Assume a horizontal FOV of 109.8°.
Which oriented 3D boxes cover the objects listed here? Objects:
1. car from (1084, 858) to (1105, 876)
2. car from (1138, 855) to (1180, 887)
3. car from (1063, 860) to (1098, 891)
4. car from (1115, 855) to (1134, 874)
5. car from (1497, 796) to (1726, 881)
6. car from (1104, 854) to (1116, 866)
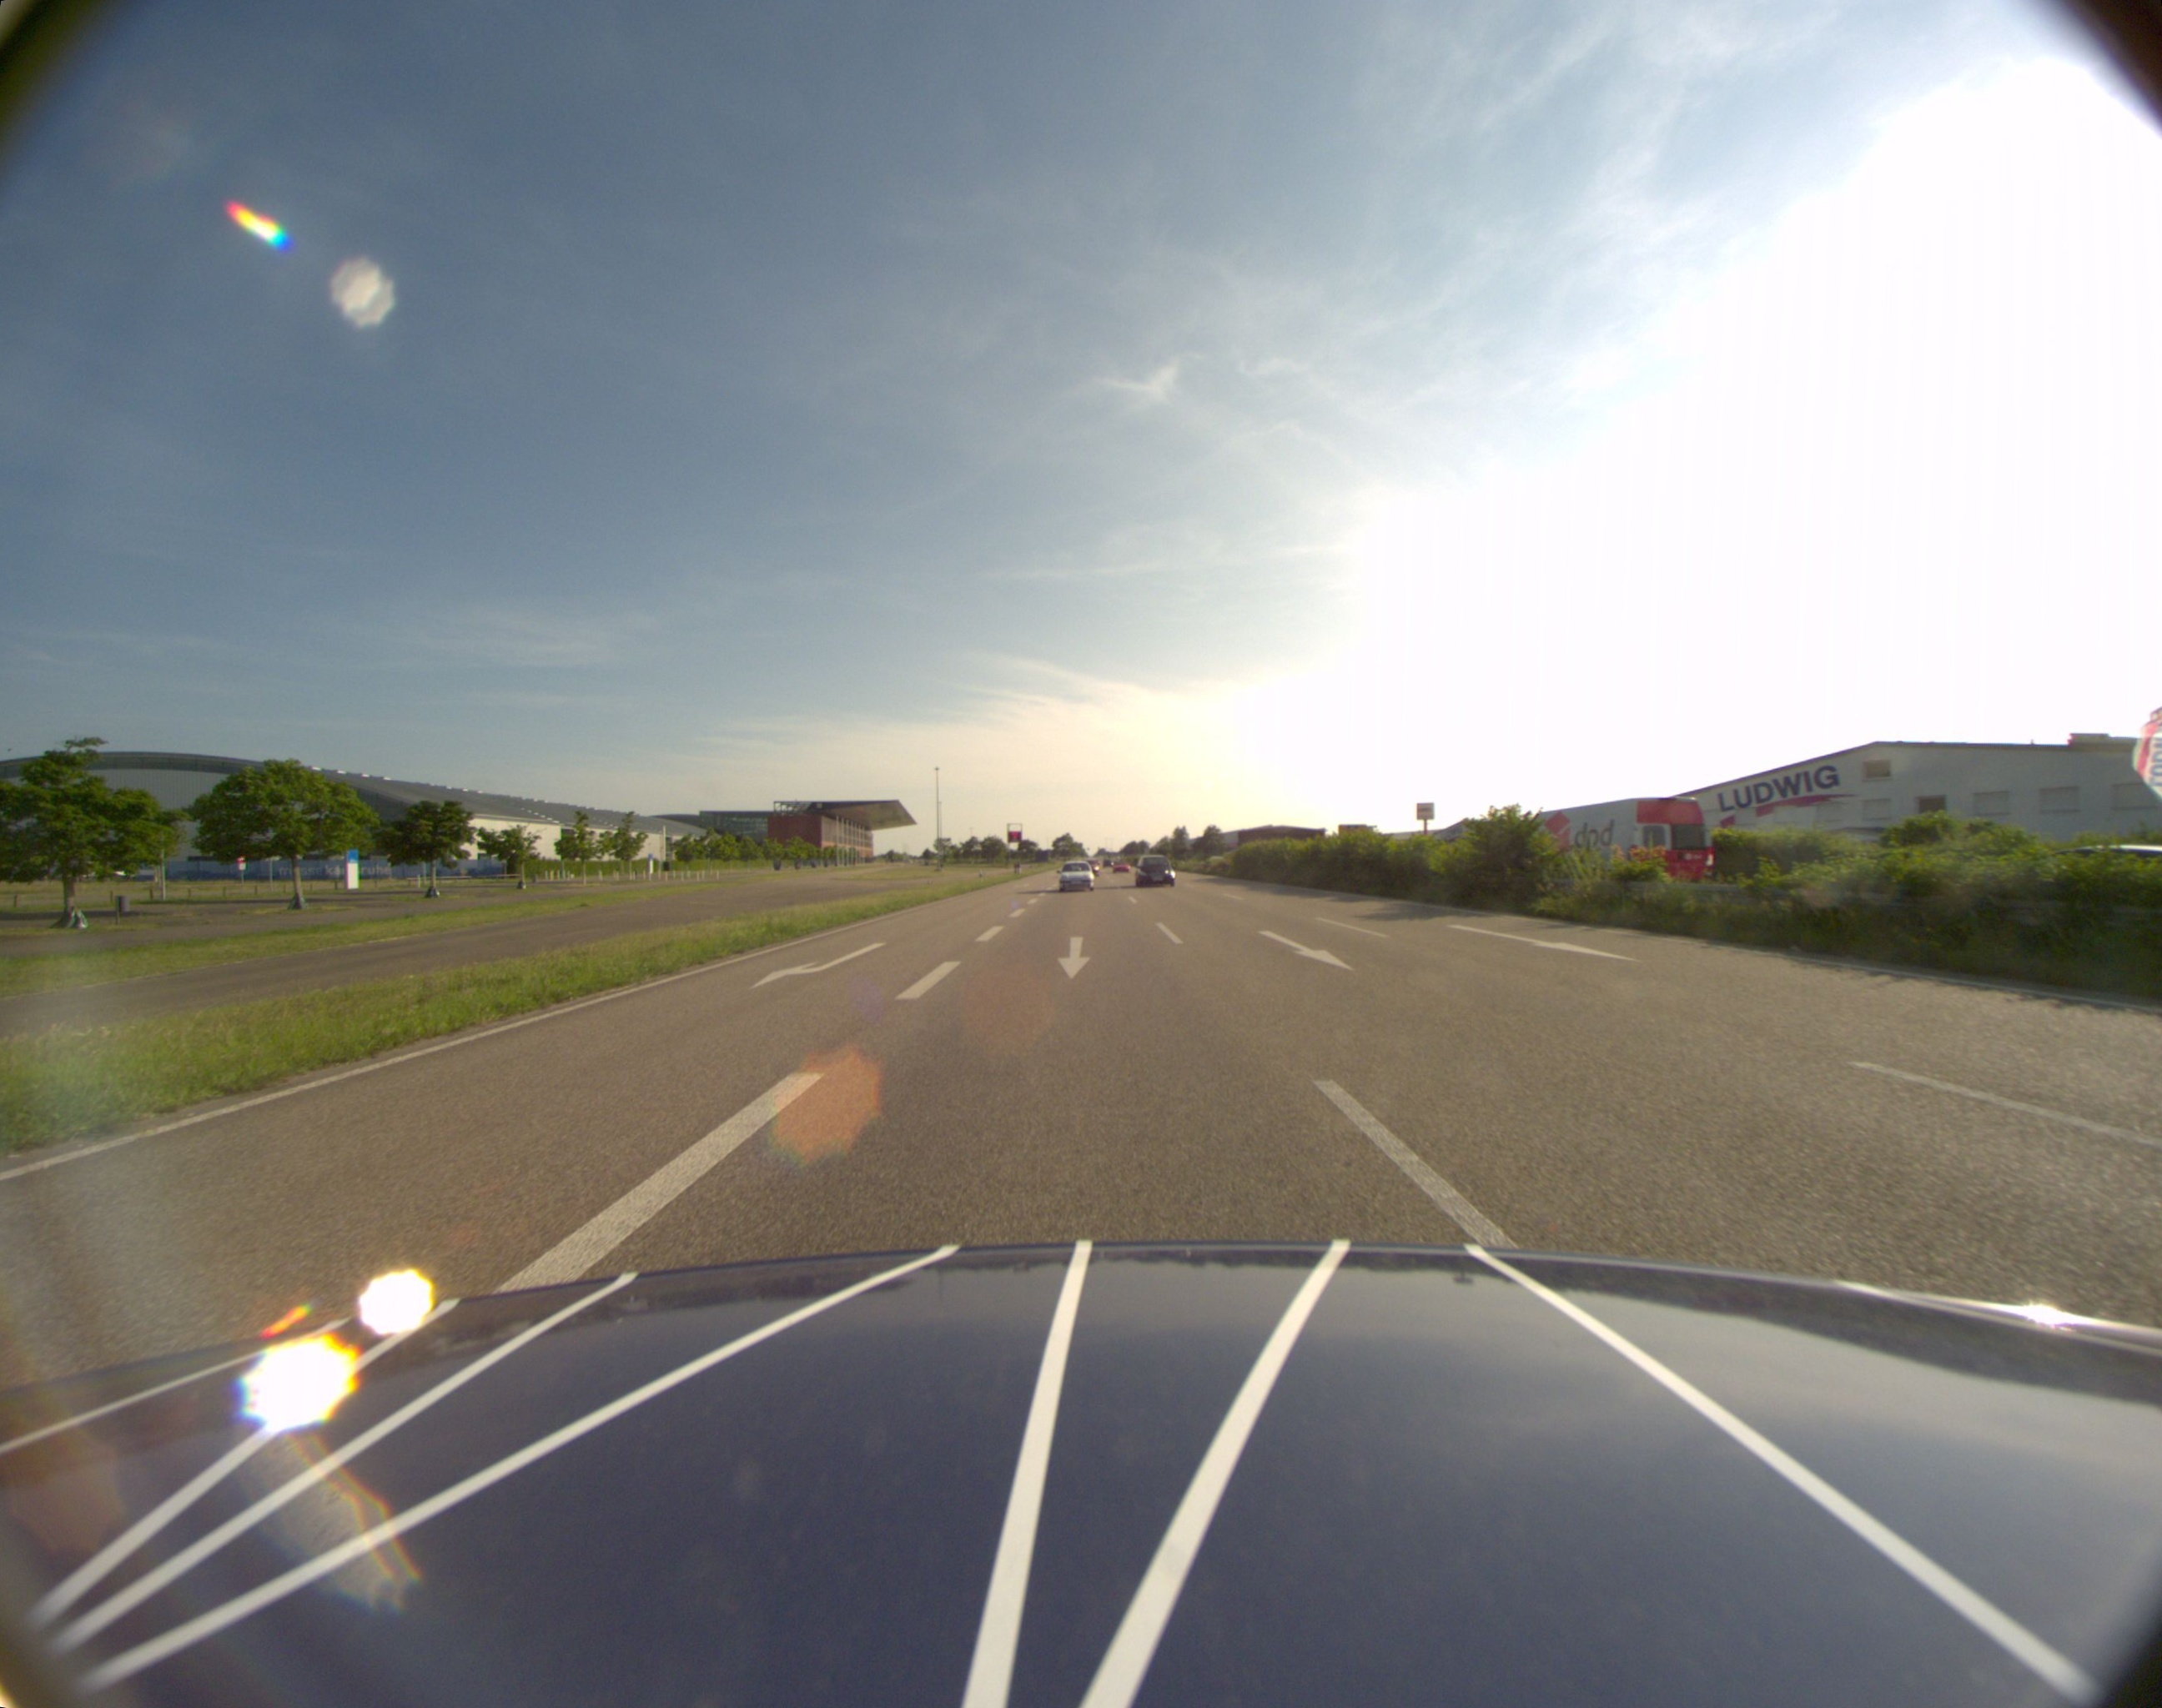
[{"bbox_3d":[1.140,1.095,65.991,1.751,1.512,3.739,-1,0,1],"label":"car"},{"bbox_3d":[3.938,0.819,38.768,1.758,1.499,3.422,-1,0,0],"label":"car"},{"bbox_3d":[-0.012,0.997,36.437,1.578,1.371,3.452,-1,0,1],"label":"car"},{"bbox_3d":[4.577,1.075,80.409,1.799,1.926,4.000,-1,0,1],"label":"car"},{"bbox_3d":[14.778,-0.420,21.831,2.167,2.023,6.322,-2,1,0],"label":"car"},{"bbox_3d":[5.257,1.067,137.216,1.998,2.002,4.000,-1,0,1],"label":"car"}]
